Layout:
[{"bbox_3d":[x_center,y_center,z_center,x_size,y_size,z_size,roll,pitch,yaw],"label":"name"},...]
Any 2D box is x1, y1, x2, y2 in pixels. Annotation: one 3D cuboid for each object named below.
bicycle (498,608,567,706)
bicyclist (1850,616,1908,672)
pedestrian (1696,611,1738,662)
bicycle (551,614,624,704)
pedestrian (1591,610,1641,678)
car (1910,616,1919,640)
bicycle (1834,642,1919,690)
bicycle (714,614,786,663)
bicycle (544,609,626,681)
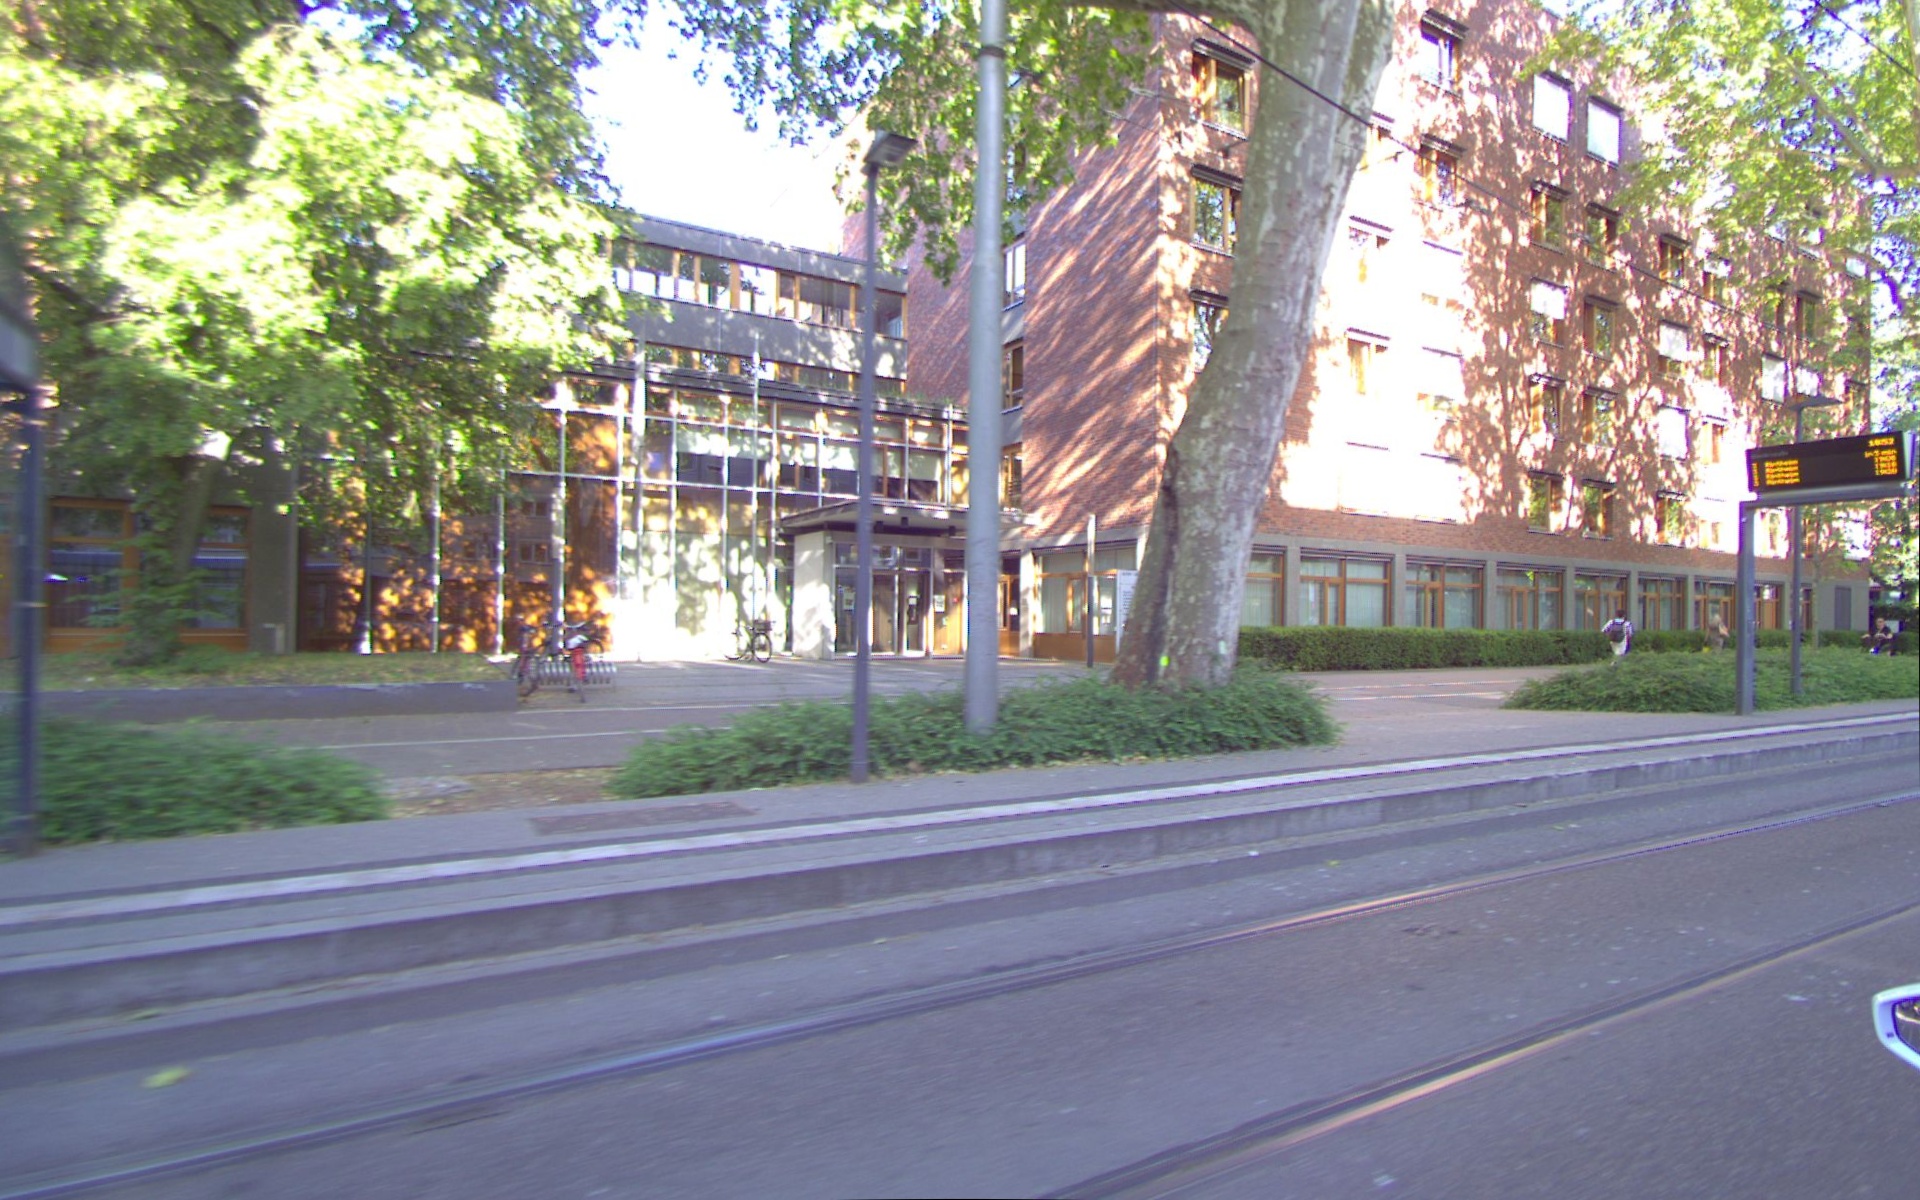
[{"bbox_3d":[-6.332,0.791,14.817,0.674,1.235,2.447,1,1,-29],"label":"bicycle"},{"bbox_3d":[25.581,1.214,27.966,0.828,1.511,0.950,1,0,-30],"label":"bicyclist"},{"bbox_3d":[24.928,1.197,33.071,0.935,1.626,0.771,1,0,-30],"label":"pedestrian"},{"bbox_3d":[-5.630,0.846,15.107,0.674,1.182,2.330,1,0,-29],"label":"bicycle"},{"bbox_3d":[16.765,1.121,25.675,0.851,1.694,0.732,1,0,-30],"label":"pedestrian"},{"bbox_3d":[81.666,2.399,84.123,3.953,2.040,1.984,2,0,-30],"label":"car"},{"bbox_3d":[25.518,1.814,27.919,2.943,1.257,0.950,2,0,-30],"label":"bicycle"},{"bbox_3d":[-5.058,0.897,24.118,1.920,1.087,0.760,1,0,44],"label":"bicycle"},{"bbox_3d":[-6.815,0.794,18.320,0.668,1.235,1.501,1,0,12],"label":"bicycle"}]
